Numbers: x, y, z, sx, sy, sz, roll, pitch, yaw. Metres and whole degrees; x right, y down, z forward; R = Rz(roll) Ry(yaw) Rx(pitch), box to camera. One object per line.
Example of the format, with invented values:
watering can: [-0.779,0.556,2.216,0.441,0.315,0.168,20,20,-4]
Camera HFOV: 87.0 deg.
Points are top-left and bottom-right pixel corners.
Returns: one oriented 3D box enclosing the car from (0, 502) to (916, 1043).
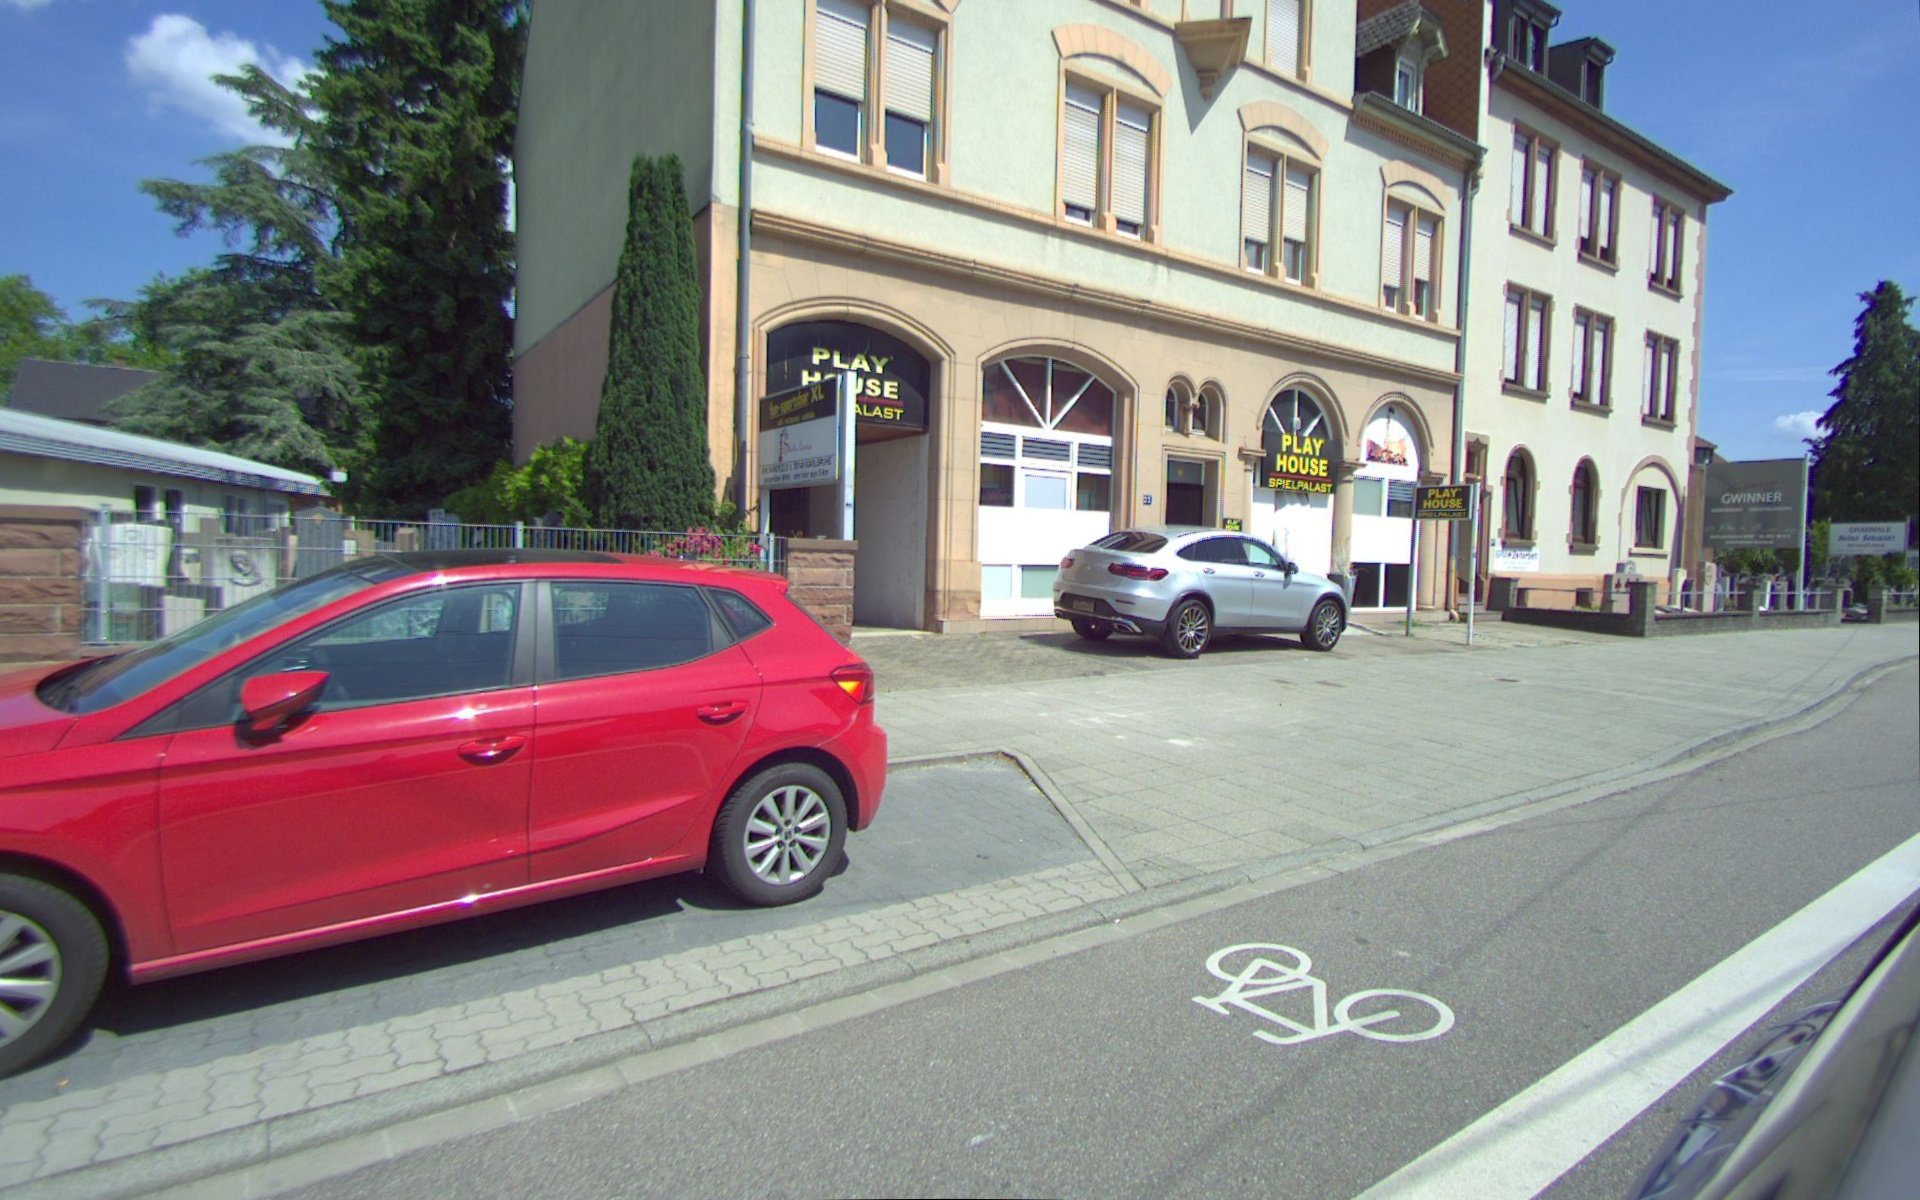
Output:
car: [-2.369,0.425,4.123,3.942,1.460,2.000,-1,2,-36]

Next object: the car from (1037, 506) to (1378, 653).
car: [3.434,-0.324,13.686,4.552,1.643,1.886,-1,6,-35]
